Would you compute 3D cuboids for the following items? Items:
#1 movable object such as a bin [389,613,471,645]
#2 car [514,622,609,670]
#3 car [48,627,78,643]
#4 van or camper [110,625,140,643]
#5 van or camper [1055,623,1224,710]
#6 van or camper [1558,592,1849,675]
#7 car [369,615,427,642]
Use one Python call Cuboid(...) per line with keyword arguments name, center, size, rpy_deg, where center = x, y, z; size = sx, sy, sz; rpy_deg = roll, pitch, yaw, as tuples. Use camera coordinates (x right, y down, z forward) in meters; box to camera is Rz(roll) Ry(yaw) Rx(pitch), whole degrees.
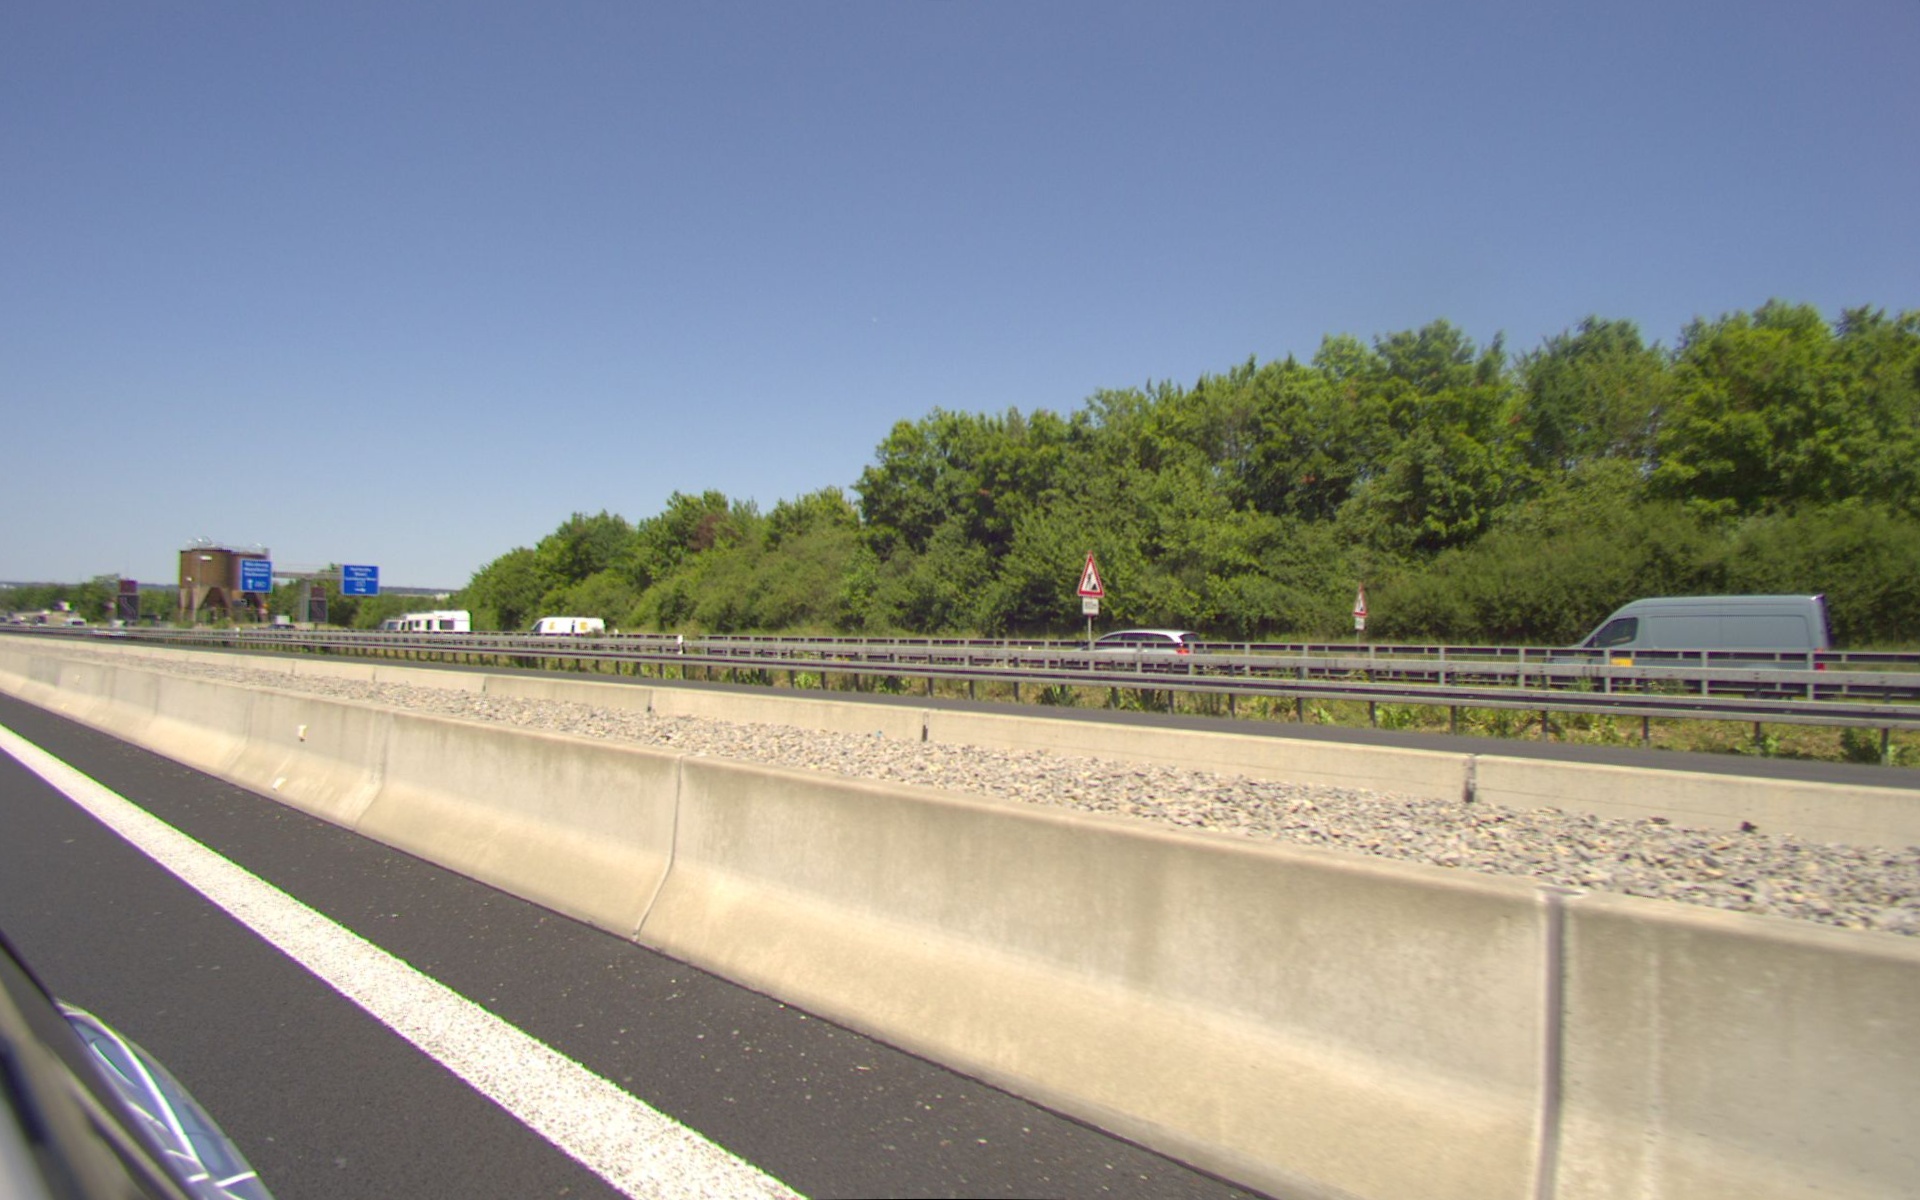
Cuboid(name="movable object such as a bin", center=(-35.637, 1.913, 67.956), size=(6.775, 2.029, 2.482), rpy_deg=(-1, 0, 40))
Cuboid(name="car", center=(-18.938, 2.116, 47.937), size=(5.347, 2.029, 1.972), rpy_deg=(-1, 0, 42))
Cuboid(name="car", center=(-143.125, 5.555, 161.519), size=(5.960, 2.521, 2.767), rpy_deg=(-2, -4, 41))
Cuboid(name="van or camper", center=(-112.213, 4.544, 135.960), size=(6.964, 2.272, 2.085), rpy_deg=(-1, 0, 41))
Cuboid(name="van or camper", center=(4.724, 1.682, 26.935), size=(3.998, 2.029, 1.973), rpy_deg=(-1, 0, 41))
Cuboid(name="van or camper", center=(18.012, 0.807, 24.744), size=(5.528, 1.812, 1.972), rpy_deg=(-1, -2, 43))
Cuboid(name="car", center=(-39.899, 2.009, 71.819), size=(4.812, 1.820, 1.974), rpy_deg=(-1, -3, 39))
